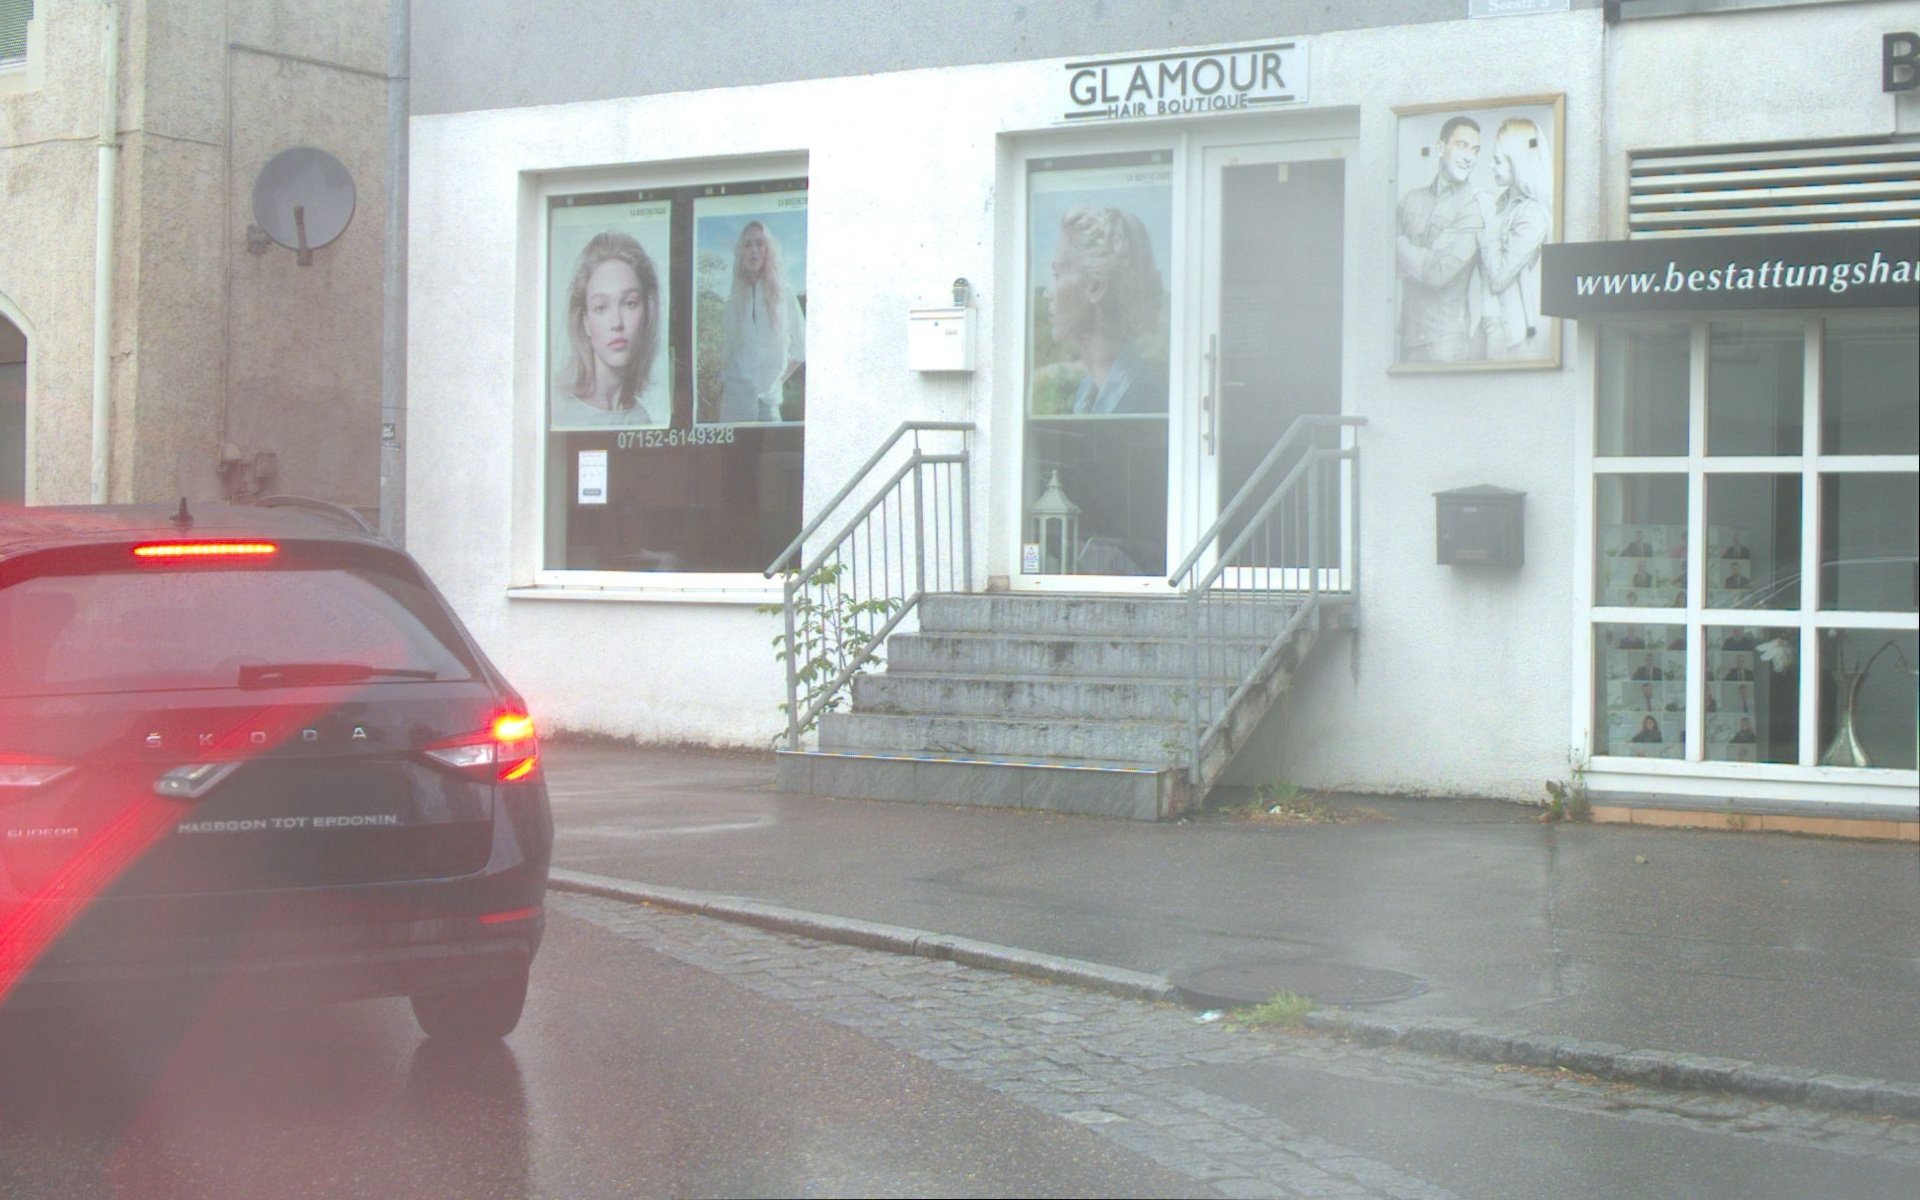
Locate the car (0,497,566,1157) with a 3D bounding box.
[{"bbox_3d":[-2.582,0.457,10.000,1.732,1.445,4.243,-1,3,-23],"label":"car"}]
